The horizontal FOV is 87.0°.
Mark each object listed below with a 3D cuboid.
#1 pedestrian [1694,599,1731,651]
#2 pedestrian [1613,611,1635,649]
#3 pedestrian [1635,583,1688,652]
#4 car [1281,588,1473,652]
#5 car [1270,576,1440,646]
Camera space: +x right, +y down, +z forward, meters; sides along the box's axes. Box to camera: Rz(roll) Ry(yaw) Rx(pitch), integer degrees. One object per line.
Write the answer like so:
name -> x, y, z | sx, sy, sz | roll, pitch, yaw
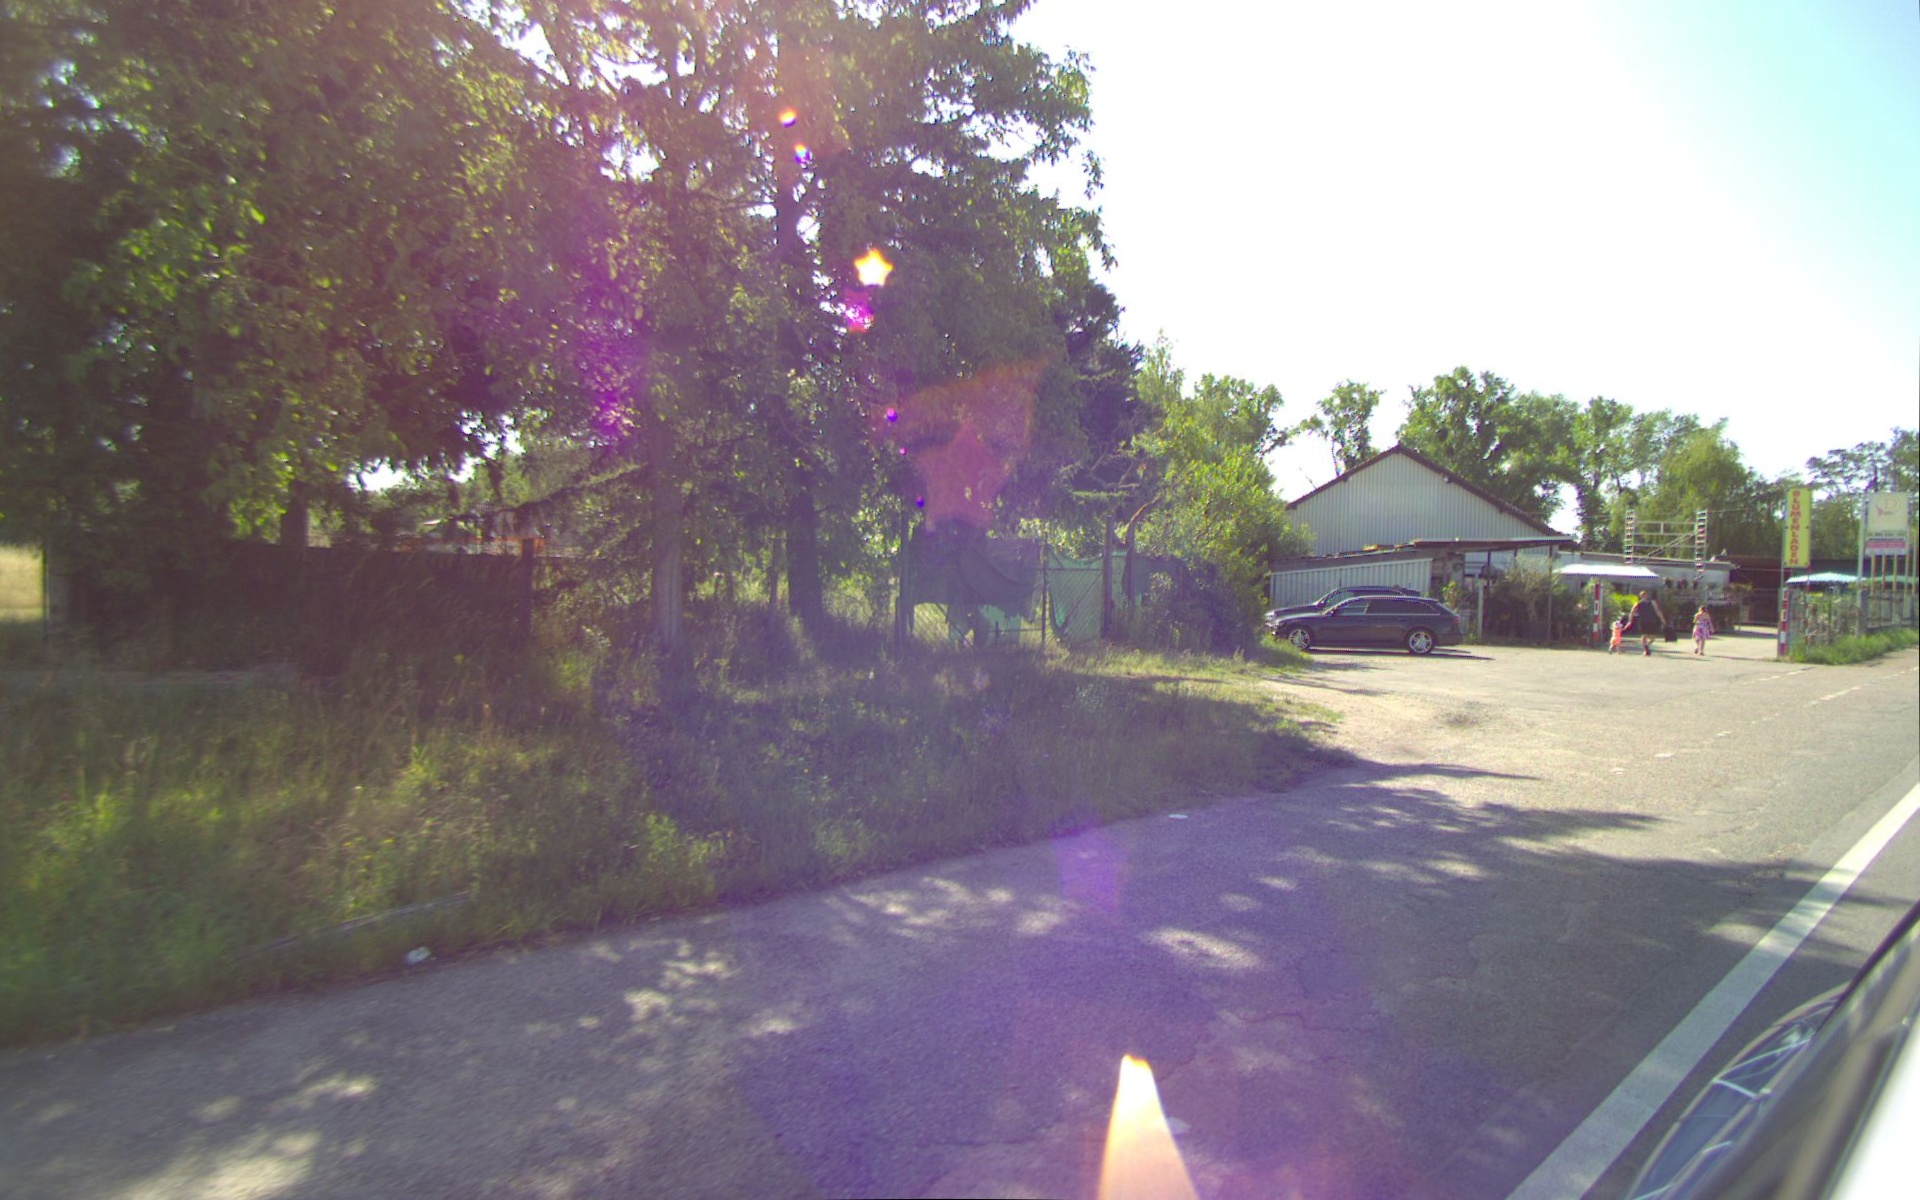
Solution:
pedestrian -> 20.584, 0.661, 27.704 | 0.719, 1.354, 0.816 | 2, 1, 32
pedestrian -> 18.196, 0.817, 27.756 | 0.467, 0.996, 0.335 | 2, 1, 33
pedestrian -> 18.914, 0.452, 27.306 | 1.092, 1.808, 0.926 | 2, 1, 32
car -> 10.620, 0.474, 26.062 | 4.410, 1.448, 1.703 | 2, 1, 21
car -> 11.320, 0.264, 29.254 | 4.410, 1.826, 1.851 | 2, 1, 21
